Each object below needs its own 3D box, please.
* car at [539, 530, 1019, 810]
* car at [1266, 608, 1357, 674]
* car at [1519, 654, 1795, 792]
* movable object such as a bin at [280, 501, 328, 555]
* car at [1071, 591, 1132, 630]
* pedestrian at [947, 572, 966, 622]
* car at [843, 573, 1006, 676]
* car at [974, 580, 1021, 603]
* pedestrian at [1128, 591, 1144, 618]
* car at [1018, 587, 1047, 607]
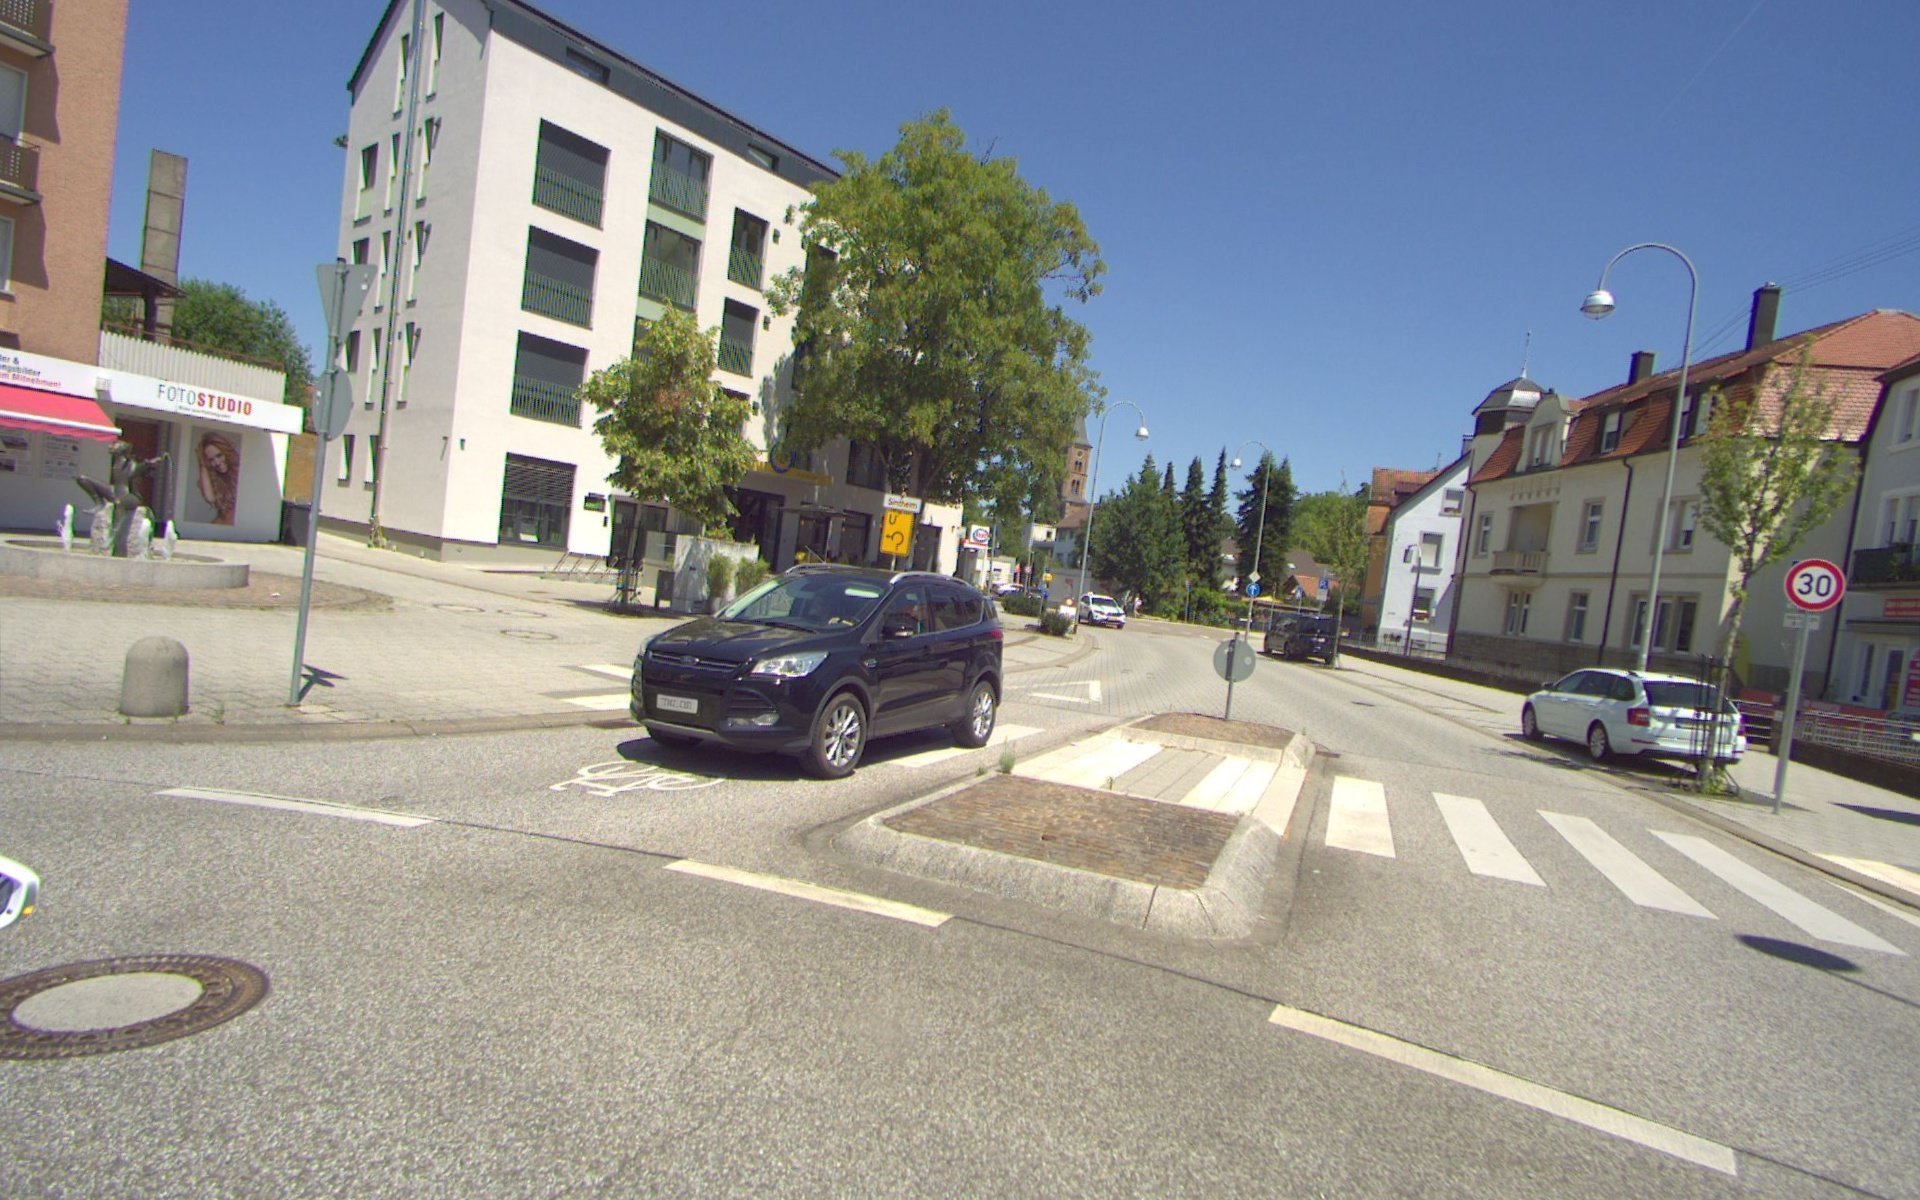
[{"bbox_3d":[-1.254,0.516,9.125,1.964,1.710,4.521,7,1,24],"label":"car"},{"bbox_3d":[13.691,1.530,39.465,1.963,1.890,4.280,8,4,2],"label":"car"},{"bbox_3d":[10.982,1.841,16.313,1.961,1.605,4.286,3,0,10],"label":"car"},{"bbox_3d":[-16.159,-1.765,24.795,0.763,1.171,0.756,12,6,42],"label":"movable object such as a bin"},{"bbox_3d":[7.267,0.520,52.158,1.806,1.595,3.988,6,2,-11],"label":"car"},{"bbox_3d":[-0.125,-0.114,34.968,0.399,1.651,0.650,8,5,2],"label":"pedestrian"},{"bbox_3d":[-0.601,0.469,20.463,1.768,1.610,3.997,10,3,20],"label":"car"},{"bbox_3d":[3.655,-0.835,98.086,3.956,1.673,1.982,6,5,-31],"label":"car"},{"bbox_3d":[12.240,0.328,69.849,0.540,1.839,0.842,11,5,32],"label":"pedestrian"},{"bbox_3d":[6.070,-0.251,84.515,1.518,1.396,3.992,7,1,-7],"label":"car"}]
